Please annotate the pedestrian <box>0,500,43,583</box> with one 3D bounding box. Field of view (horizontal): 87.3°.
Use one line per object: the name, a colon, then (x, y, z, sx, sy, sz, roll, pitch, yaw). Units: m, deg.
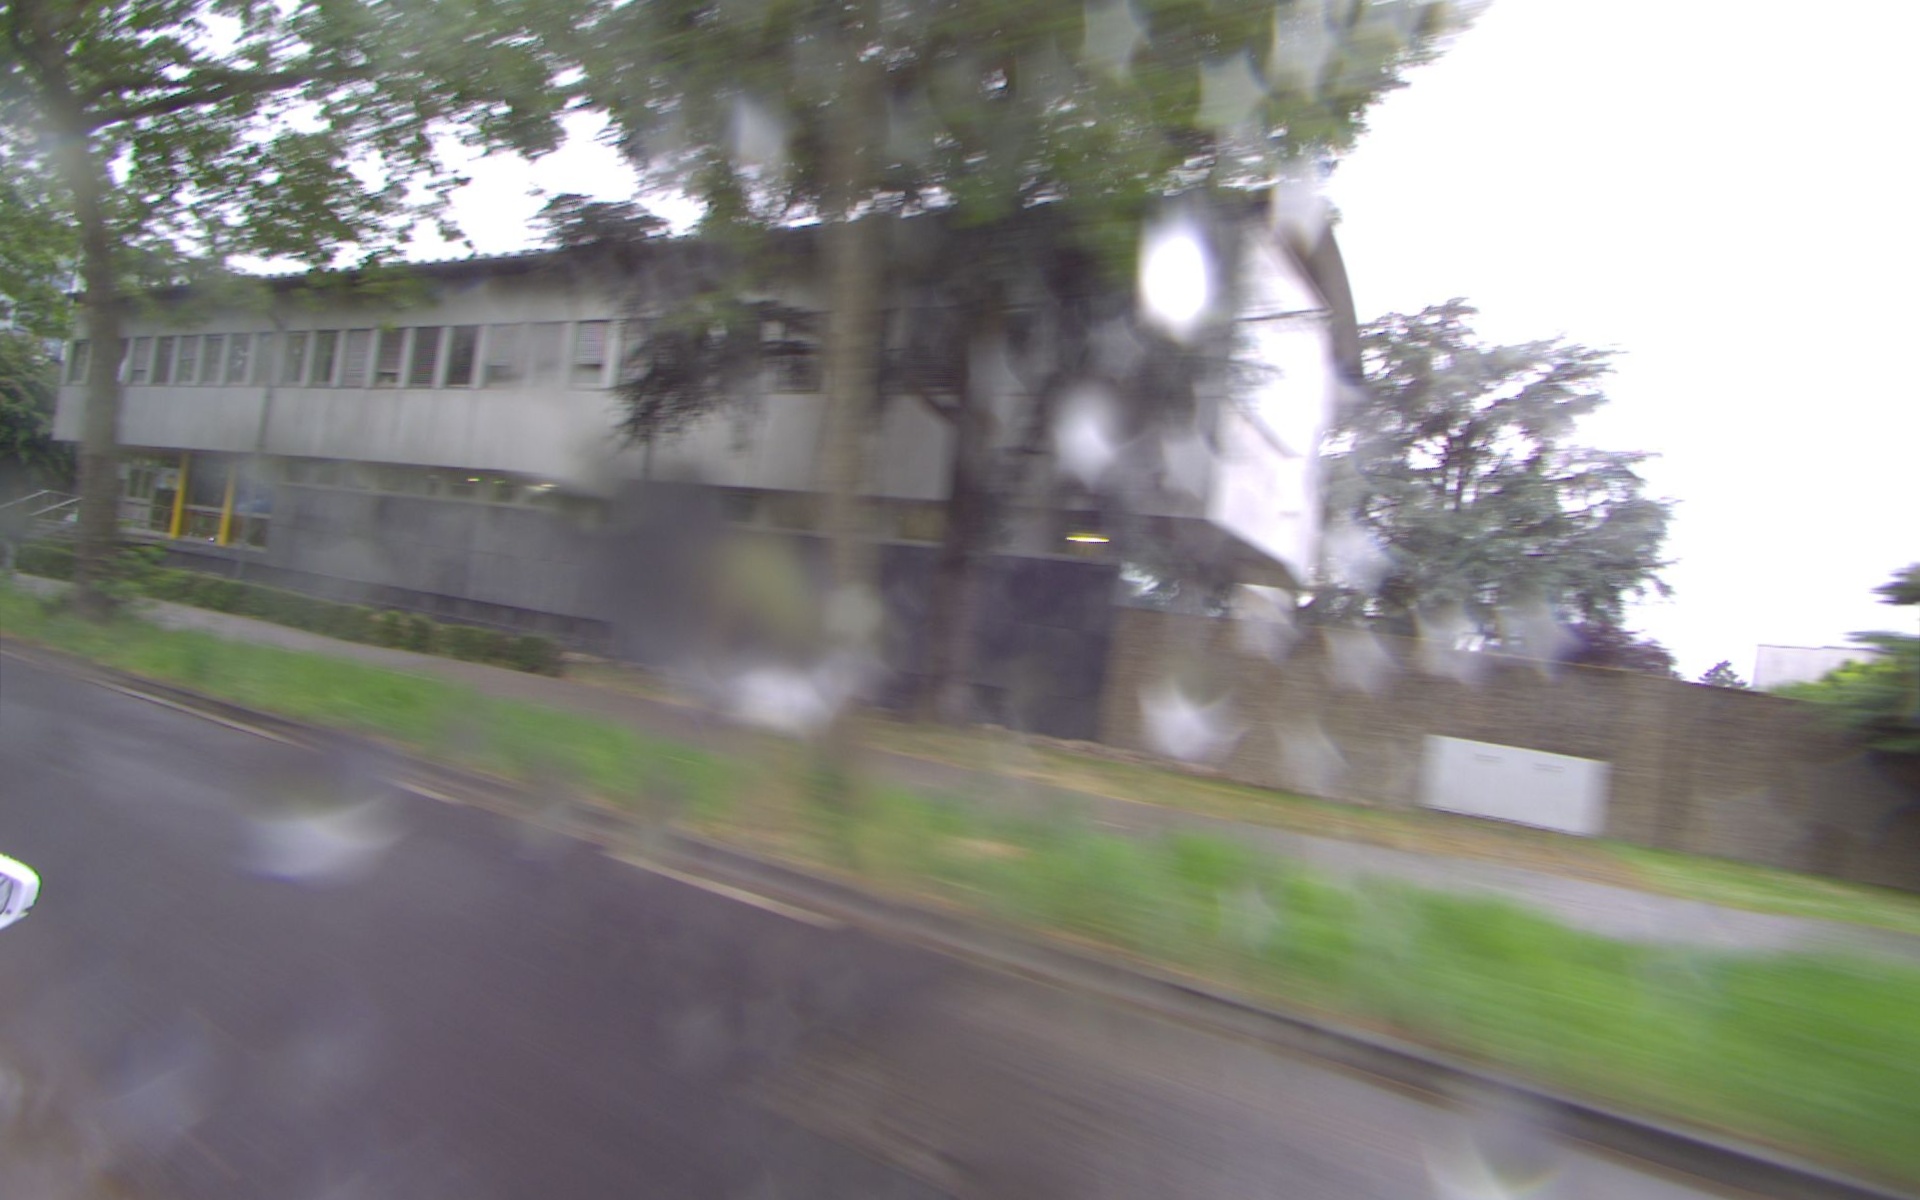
pedestrian: (-20.550, -1.265, 21.731, 0.665, 1.687, 0.820, 9, -1, -24)
